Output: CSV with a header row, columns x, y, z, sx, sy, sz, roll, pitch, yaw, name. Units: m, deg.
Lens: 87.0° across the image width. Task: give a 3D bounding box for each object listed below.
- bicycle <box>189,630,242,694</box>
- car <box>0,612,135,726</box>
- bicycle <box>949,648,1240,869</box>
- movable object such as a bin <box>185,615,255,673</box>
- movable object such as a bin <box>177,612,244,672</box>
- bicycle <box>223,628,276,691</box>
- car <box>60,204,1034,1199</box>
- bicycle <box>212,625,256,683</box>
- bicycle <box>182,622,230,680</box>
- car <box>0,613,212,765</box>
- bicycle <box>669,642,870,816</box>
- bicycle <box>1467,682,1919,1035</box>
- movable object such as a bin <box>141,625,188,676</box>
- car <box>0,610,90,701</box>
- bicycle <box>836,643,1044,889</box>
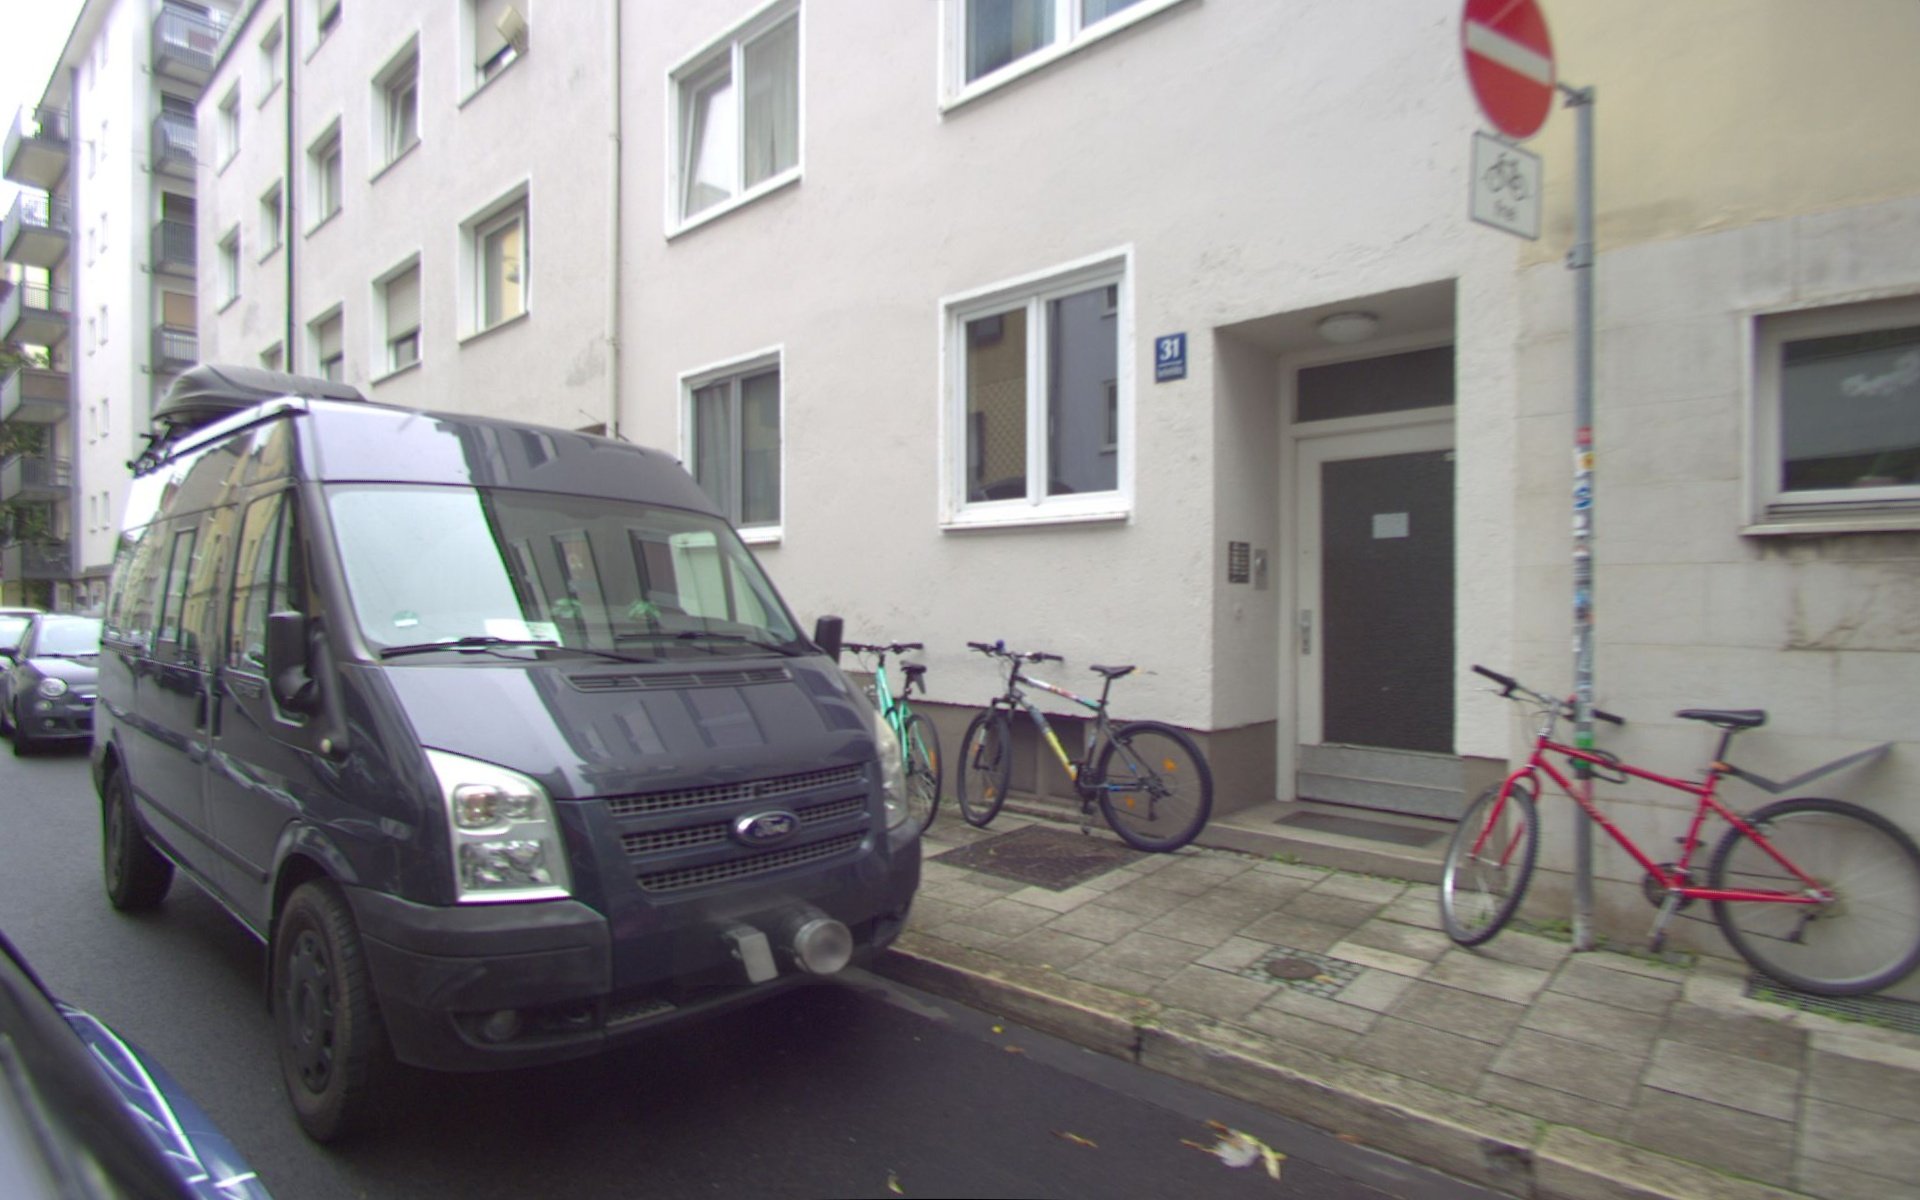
x,y,z,sx,sy,sz,roll,pitch,yaw,name
-12.825,1.046,17.414,1.623,1.024,0.383,0,-2,42,bicycle
-13.579,0.899,14.639,4.223,1.427,1.783,0,0,40,car
0.685,0.789,5.549,1.591,0.991,0.484,-1,0,43,bicycle
-16.952,0.979,23.195,1.097,1.272,1.108,0,0,42,movable object such as a bin
-17.754,0.978,23.973,1.104,1.364,1.099,0,0,42,movable object such as a bin
-12.391,1.016,17.642,1.574,1.024,0.394,0,-2,42,bicycle
-2.404,0.353,4.662,5.390,2.296,1.996,0,-2,42,car
-13.485,0.992,18.786,1.441,1.024,0.375,0,-2,43,bicycle
-15.484,1.027,20.764,1.681,1.147,0.338,0,0,37,bicycle
-10.068,0.907,11.698,3.743,1.457,1.594,0,-3,43,car
-1.470,0.894,7.558,1.870,1.106,0.458,-1,0,43,bicycle
2.642,0.801,3.418,1.590,0.939,0.484,-1,0,41,bicycle
-17.569,1.094,22.366,0.603,1.084,0.684,0,0,36,movable object such as a bin
-17.272,0.924,18.151,4.806,1.448,1.892,0,0,41,car
-0.191,0.841,5.832,0.456,1.106,1.876,-1,0,-25,bicycle
